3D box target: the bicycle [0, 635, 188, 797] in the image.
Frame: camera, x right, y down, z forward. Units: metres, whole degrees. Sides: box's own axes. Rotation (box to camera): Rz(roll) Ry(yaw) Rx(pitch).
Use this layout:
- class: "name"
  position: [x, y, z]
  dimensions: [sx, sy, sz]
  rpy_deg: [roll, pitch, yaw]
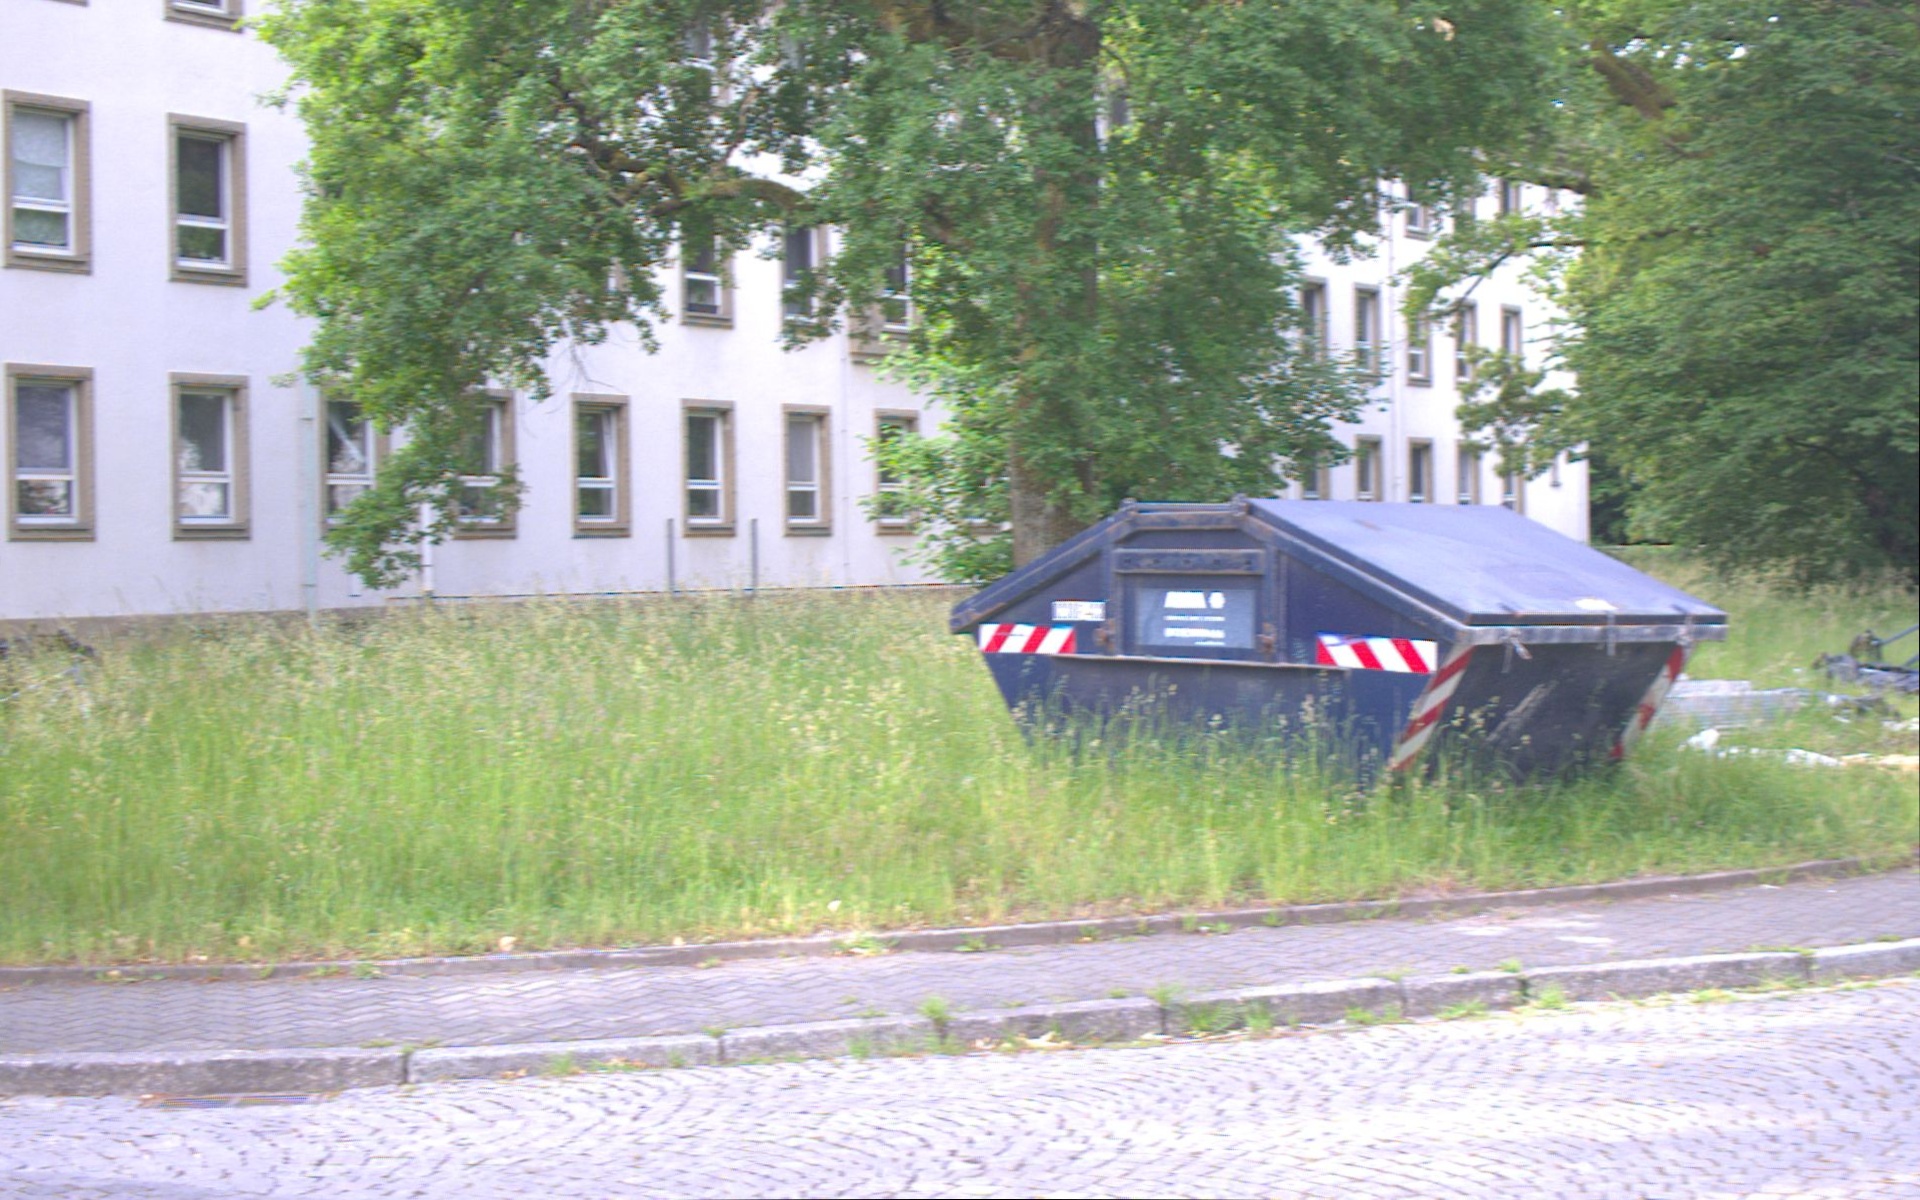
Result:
- class: "bicycle"
  position: [-5.569, 0.708, 20.845]
  dimensions: [1.617, 0.907, 0.526]
  rpy_deg: [-2, 3, 13]

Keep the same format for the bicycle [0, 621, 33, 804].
- class: "bicycle"
  position: [-6.419, 0.692, 20.484]
  dimensions: [1.617, 1.055, 0.526]
  rpy_deg: [-2, 3, 13]

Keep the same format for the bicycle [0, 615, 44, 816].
- class: "bicycle"
  position: [-6.233, 0.681, 19.884]
  dimensions: [1.697, 1.112, 0.541]
  rpy_deg: [-2, 3, 13]

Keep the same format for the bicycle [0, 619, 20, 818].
- class: "bicycle"
  position: [-6.253, 0.696, 19.330]
  dimensions: [1.772, 1.101, 0.541]
  rpy_deg: [-2, 3, 13]
